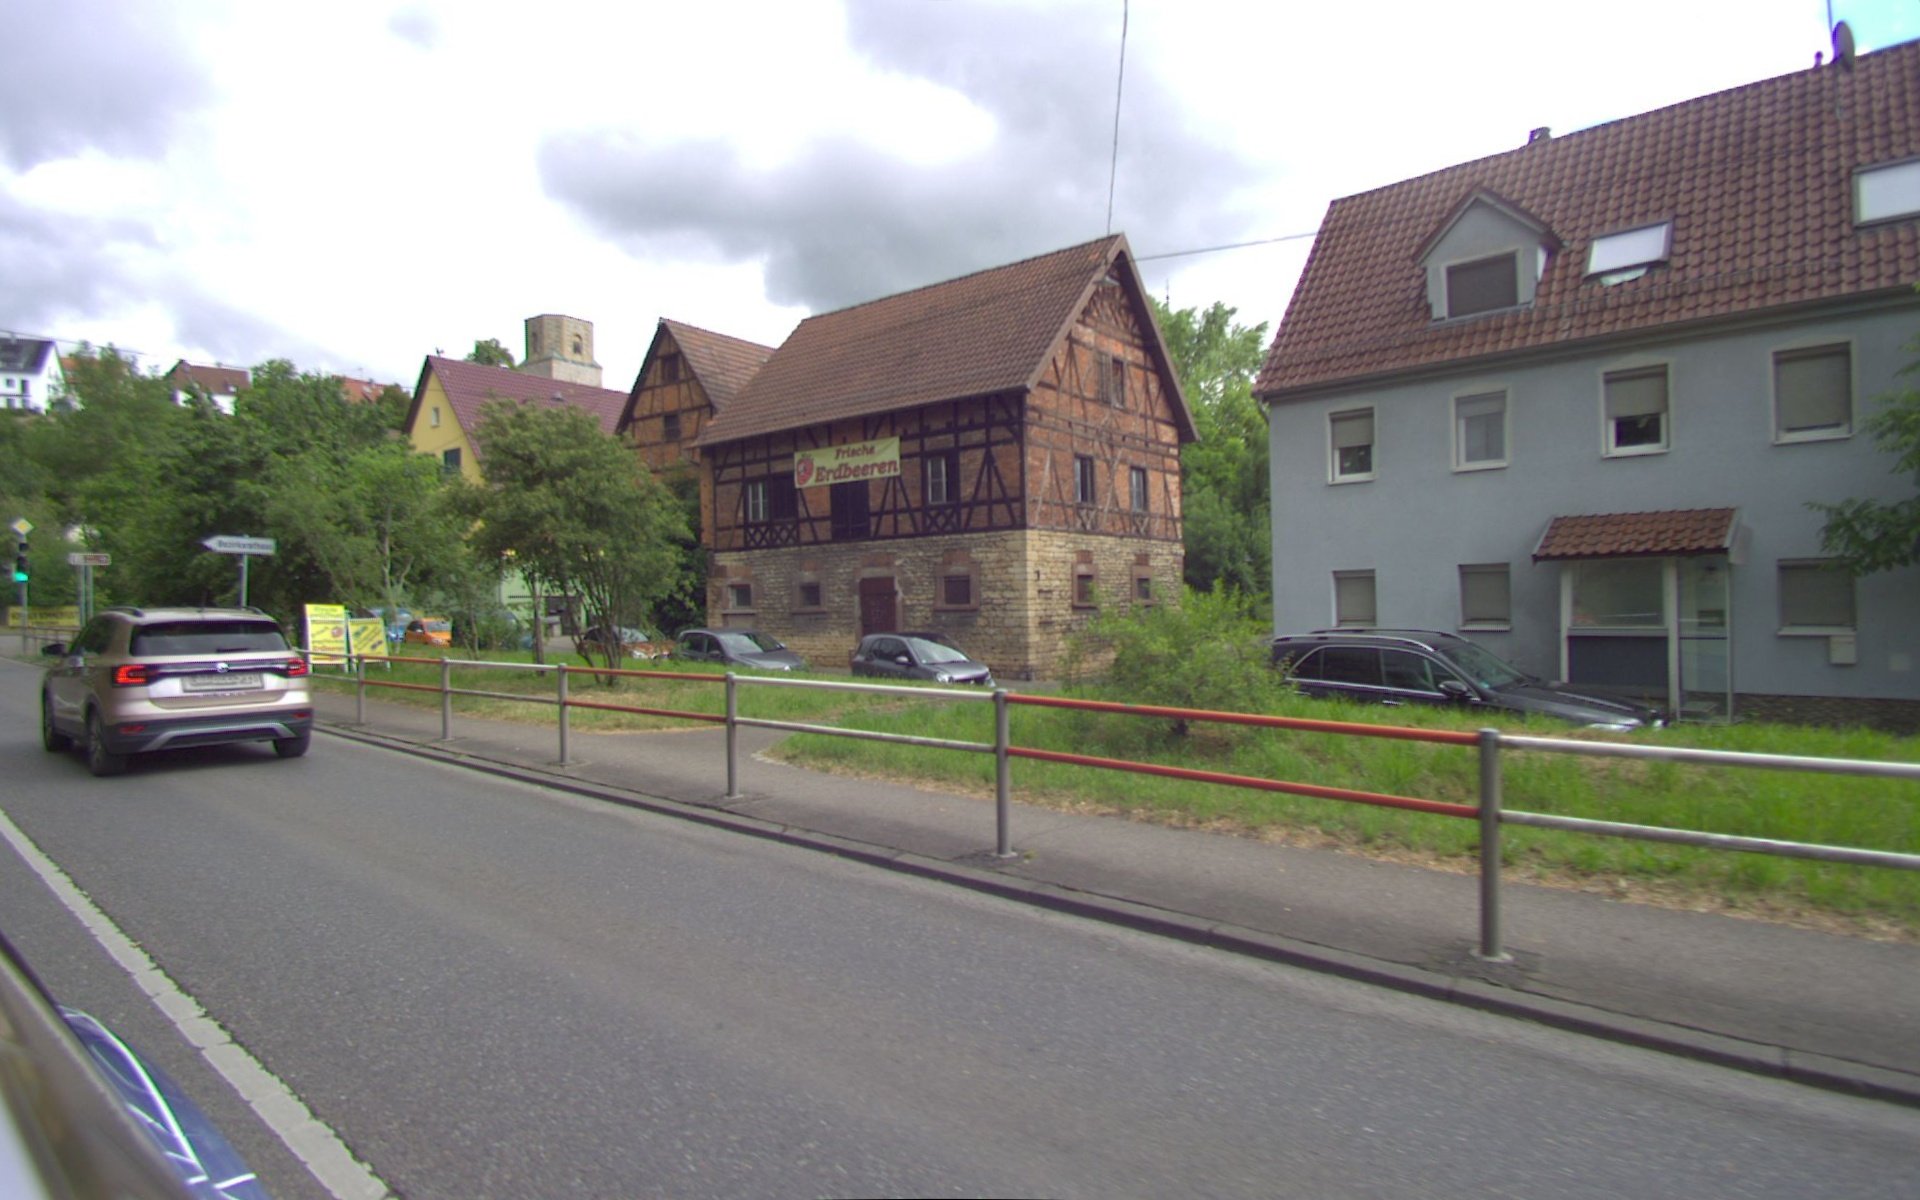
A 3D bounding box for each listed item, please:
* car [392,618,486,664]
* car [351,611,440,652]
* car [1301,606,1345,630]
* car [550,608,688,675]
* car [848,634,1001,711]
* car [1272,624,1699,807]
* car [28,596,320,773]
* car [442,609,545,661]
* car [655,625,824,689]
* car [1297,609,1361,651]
[{"bbox_3d":[-19.649,1.502,38.124,4.001,1.630,1.926,-1,-2,44],"label":"car"},{"bbox_3d":[-23.466,1.285,42.024,4.448,1.630,1.972,-1,-2,43],"label":"car"},{"bbox_3d":[20.390,1.017,56.765,1.708,1.247,3.961,2,0,28],"label":"car"},{"bbox_3d":[-9.036,1.042,26.680,4.001,1.630,1.791,-1,-2,44],"label":"car"},{"bbox_3d":[-0.685,1.287,18.754,1.534,1.287,2.556,1,-2,-43],"label":"car"},{"bbox_3d":[5.924,1.150,11.748,1.898,1.708,4.004,1,-2,-43],"label":"car"},{"bbox_3d":[-8.398,0.768,10.690,3.998,1.523,1.687,-1,-2,41],"label":"car"},{"bbox_3d":[-15.638,1.141,33.858,4.001,1.630,1.791,-1,-2,44],"label":"car"},{"bbox_3d":[-5.070,1.226,22.977,1.970,1.287,4.004,1,-2,-43],"label":"car"},{"bbox_3d":[14.257,1.125,39.001,1.708,1.443,3.961,2,0,28],"label":"car"}]
